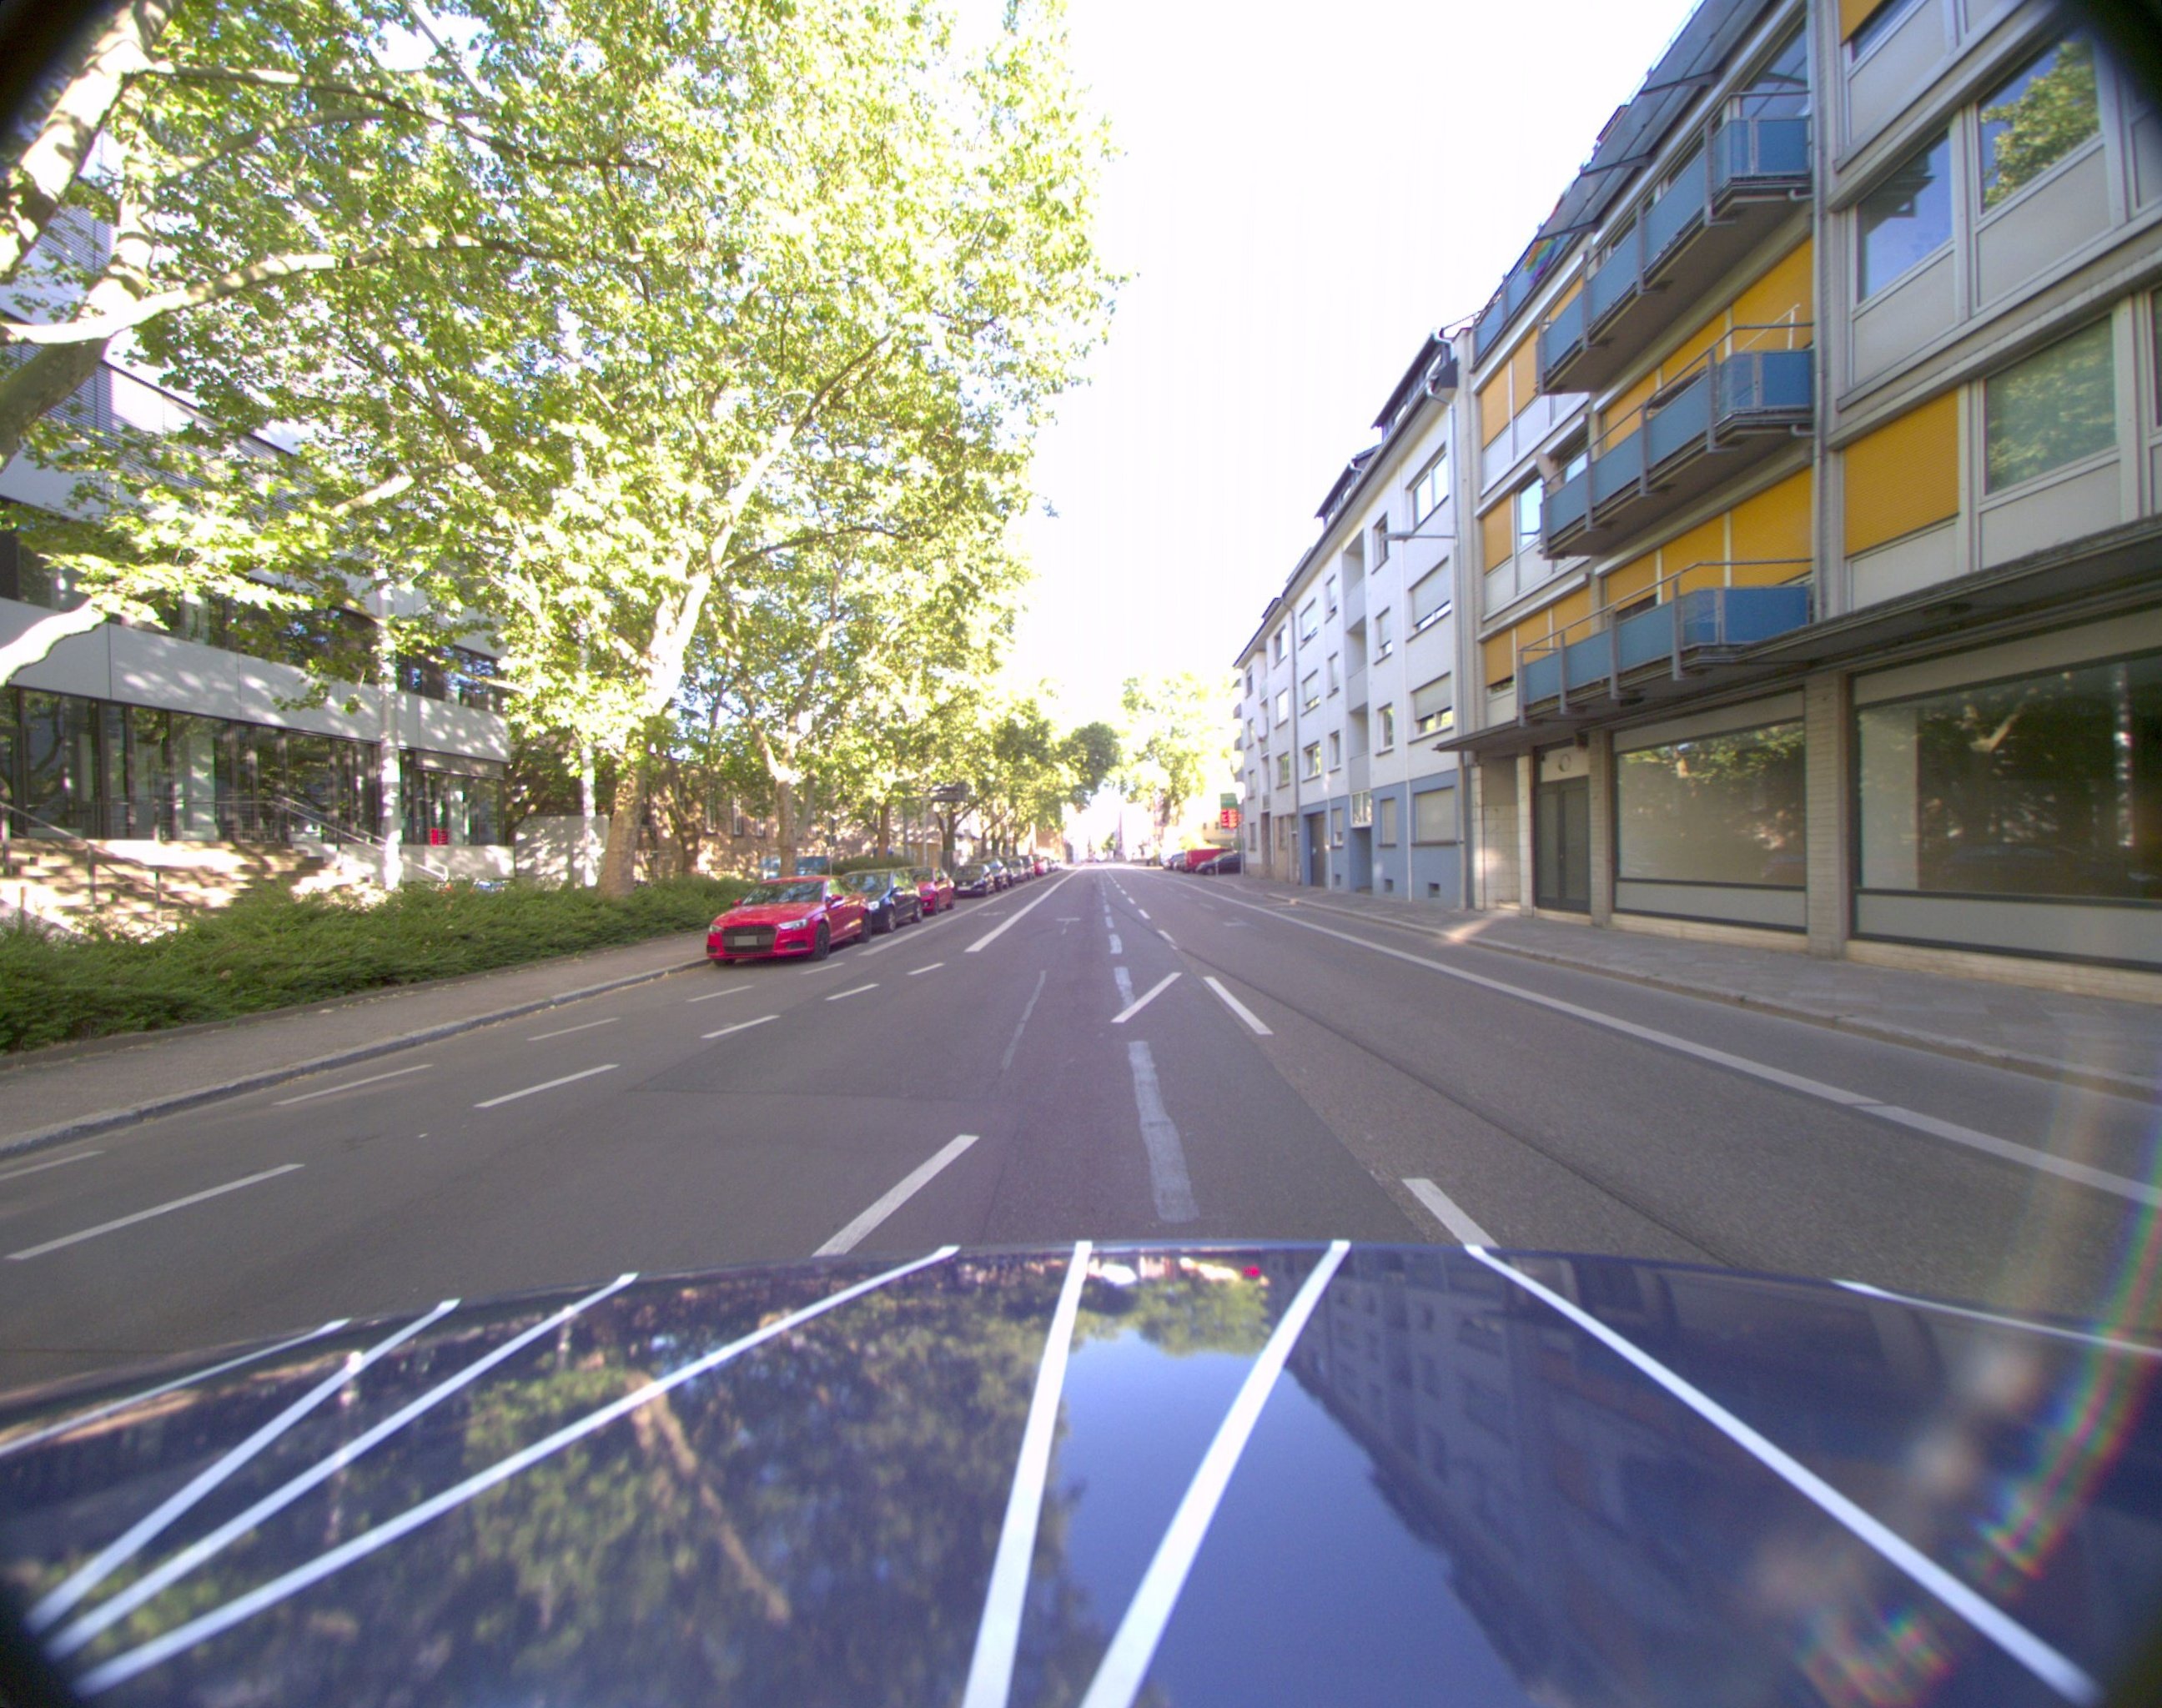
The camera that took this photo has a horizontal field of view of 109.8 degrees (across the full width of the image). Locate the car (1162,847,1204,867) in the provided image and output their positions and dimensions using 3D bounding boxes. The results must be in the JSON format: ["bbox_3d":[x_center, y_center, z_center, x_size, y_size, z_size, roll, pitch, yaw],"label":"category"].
[{"bbox_3d":[10.861,0.275,80.919,4.236,1.945,2.000,-2,1,3],"label":"car"}]

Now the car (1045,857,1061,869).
[{"bbox_3d":[-3.349,1.058,92.744,1.693,1.364,3.999,-2,1,1],"label":"car"}]

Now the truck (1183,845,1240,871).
[{"bbox_3d":[10.284,0.314,60.217,4.092,1.913,2.000,-2,1,0],"label":"truck"}]

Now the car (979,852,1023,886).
[{"bbox_3d":[-4.610,0.830,44.523,1.998,1.777,4.572,-2,1,1],"label":"car"}]

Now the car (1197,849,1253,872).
[{"bbox_3d":[10.799,0.444,57.121,3.810,1.563,1.658,-2,1,0],"label":"car"}]

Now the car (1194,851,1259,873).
[{"bbox_3d":[10.453,0.566,54.789,4.324,1.398,1.658,-2,1,0],"label":"car"}]

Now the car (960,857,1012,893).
[{"bbox_3d":[-4.687,0.997,38.133,1.998,1.592,4.142,-2,1,1],"label":"car"}]

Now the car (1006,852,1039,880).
[{"bbox_3d":[-4.240,0.835,55.585,1.998,1.838,3.999,-2,1,1],"label":"car"}]

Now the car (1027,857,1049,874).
[{"bbox_3d":[-4.039,1.071,72.004,1.824,1.466,3.999,-2,1,1],"label":"car"}]

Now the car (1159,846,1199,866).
[{"bbox_3d":[10.947,0.209,85.320,4.236,2.025,2.000,-2,1,3],"label":"car"}]

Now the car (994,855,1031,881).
[{"bbox_3d":[-4.529,0.906,50.940,1.998,1.557,4.142,-2,1,1],"label":"car"}]

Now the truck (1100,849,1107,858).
[{"bbox_3d":[6.877,-0.318,233.829,1.998,2.653,5.314,-2,1,0],"label":"truck"}]

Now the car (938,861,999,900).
[{"bbox_3d":[-4.841,1.121,33.186,1.998,1.447,3.589,-2,1,1],"label":"car"}]

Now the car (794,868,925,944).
[{"bbox_3d":[-5.176,1.162,18.294,1.998,1.452,3.644,-2,1,1],"label":"car"}]

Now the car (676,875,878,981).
[{"bbox_3d":[-5.191,1.190,13.644,1.907,1.417,3.999,-2,1,1],"label":"car"}]

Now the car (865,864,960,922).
[{"bbox_3d":[-5.132,1.141,23.682,1.998,1.490,3.828,-2,1,1],"label":"car"}]

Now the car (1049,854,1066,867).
[{"bbox_3d":[-3.187,0.894,103.015,1.998,1.682,3.999,-2,1,1],"label":"car"}]

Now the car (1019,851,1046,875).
[{"bbox_3d":[-4.224,0.764,66.412,1.998,1.960,3.999,-2,1,1],"label":"car"}]

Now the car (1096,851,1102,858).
[{"bbox_3d":[6.165,0.167,259.461,1.998,2.002,3.999,-2,1,1],"label":"car"}]
